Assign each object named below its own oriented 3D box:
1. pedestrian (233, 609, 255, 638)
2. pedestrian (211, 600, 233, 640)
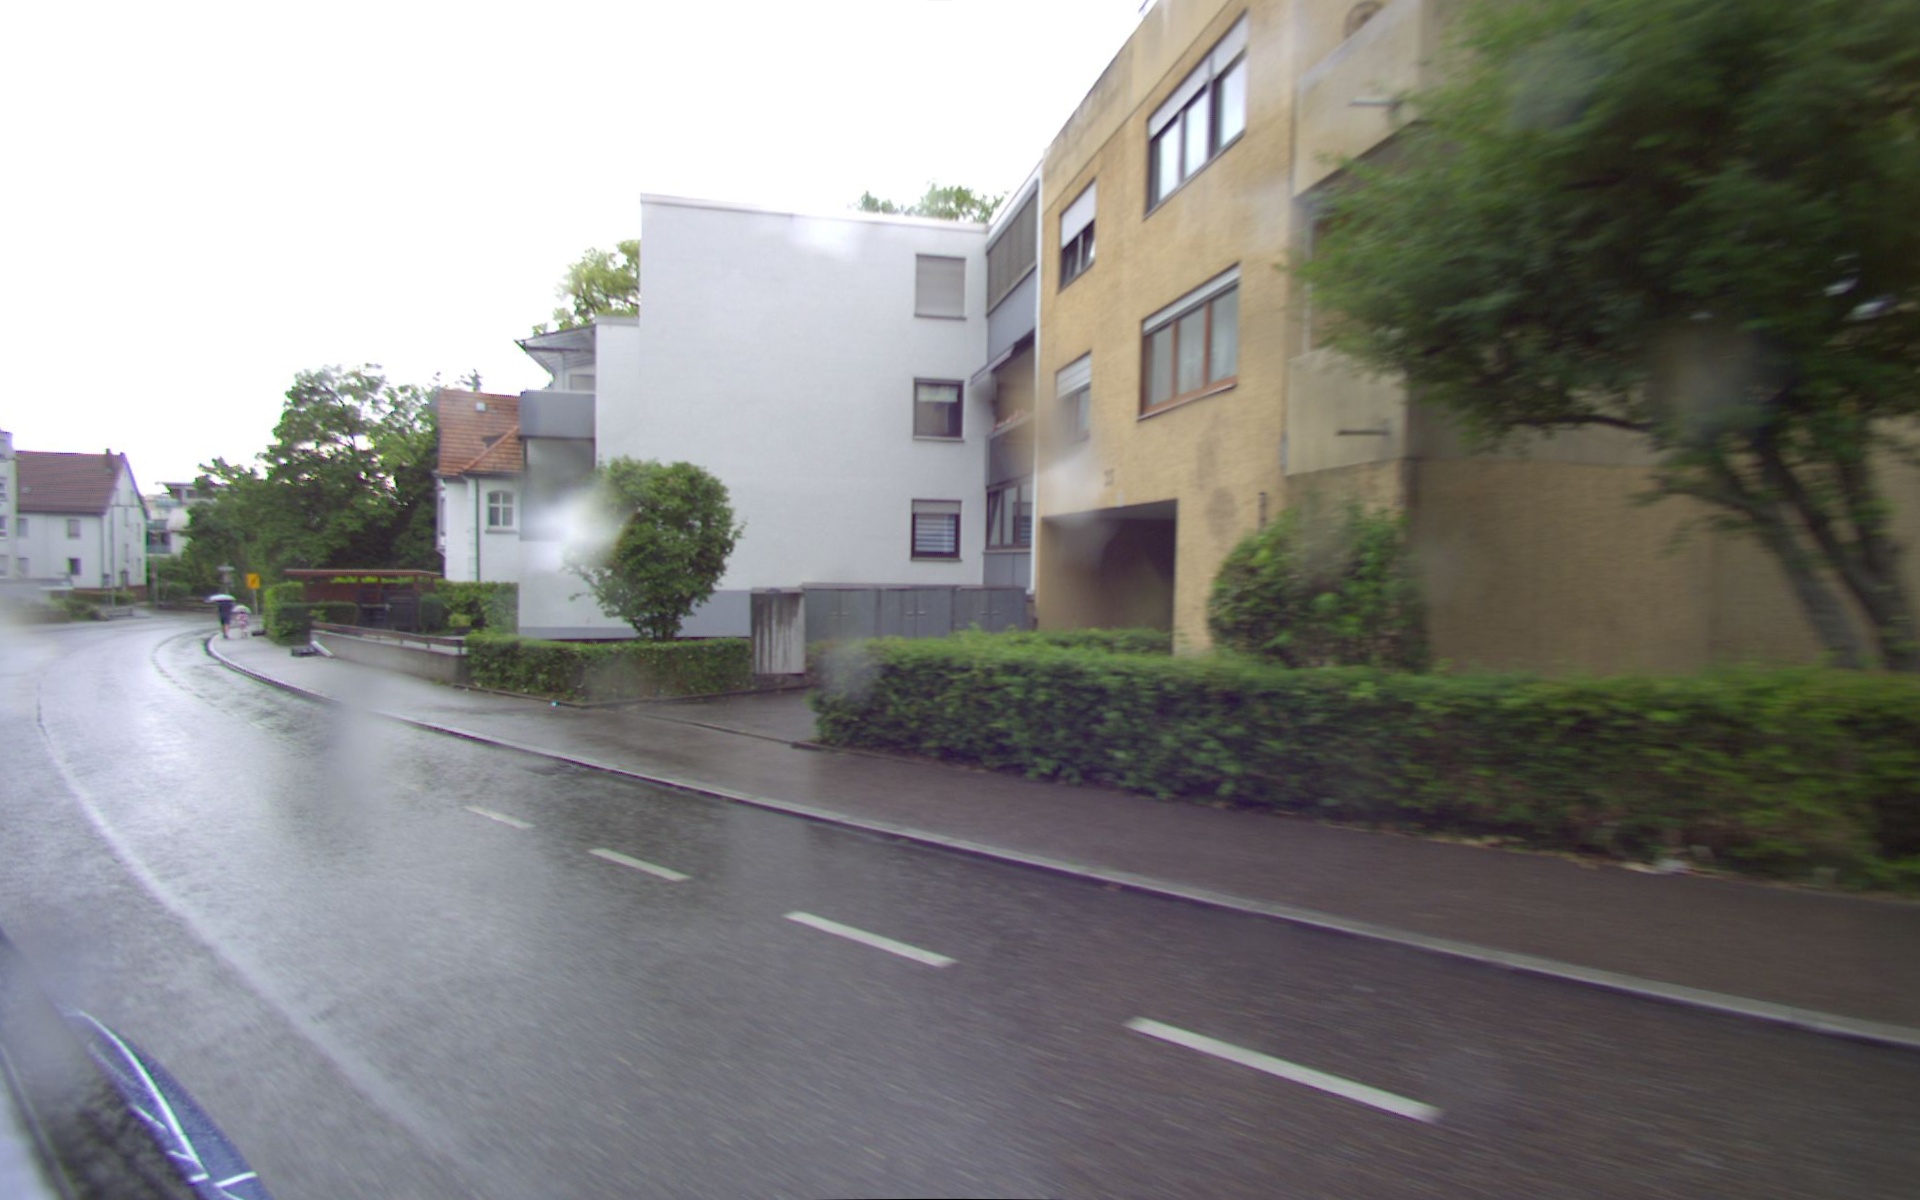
[{"bbox_3d":[-30.115,0.995,42.558,0.746,1.189,1.042,0,0,-36],"label":"pedestrian"},{"bbox_3d":[-31.218,0.825,42.833,0.746,1.656,1.042,0,0,-36],"label":"pedestrian"}]
